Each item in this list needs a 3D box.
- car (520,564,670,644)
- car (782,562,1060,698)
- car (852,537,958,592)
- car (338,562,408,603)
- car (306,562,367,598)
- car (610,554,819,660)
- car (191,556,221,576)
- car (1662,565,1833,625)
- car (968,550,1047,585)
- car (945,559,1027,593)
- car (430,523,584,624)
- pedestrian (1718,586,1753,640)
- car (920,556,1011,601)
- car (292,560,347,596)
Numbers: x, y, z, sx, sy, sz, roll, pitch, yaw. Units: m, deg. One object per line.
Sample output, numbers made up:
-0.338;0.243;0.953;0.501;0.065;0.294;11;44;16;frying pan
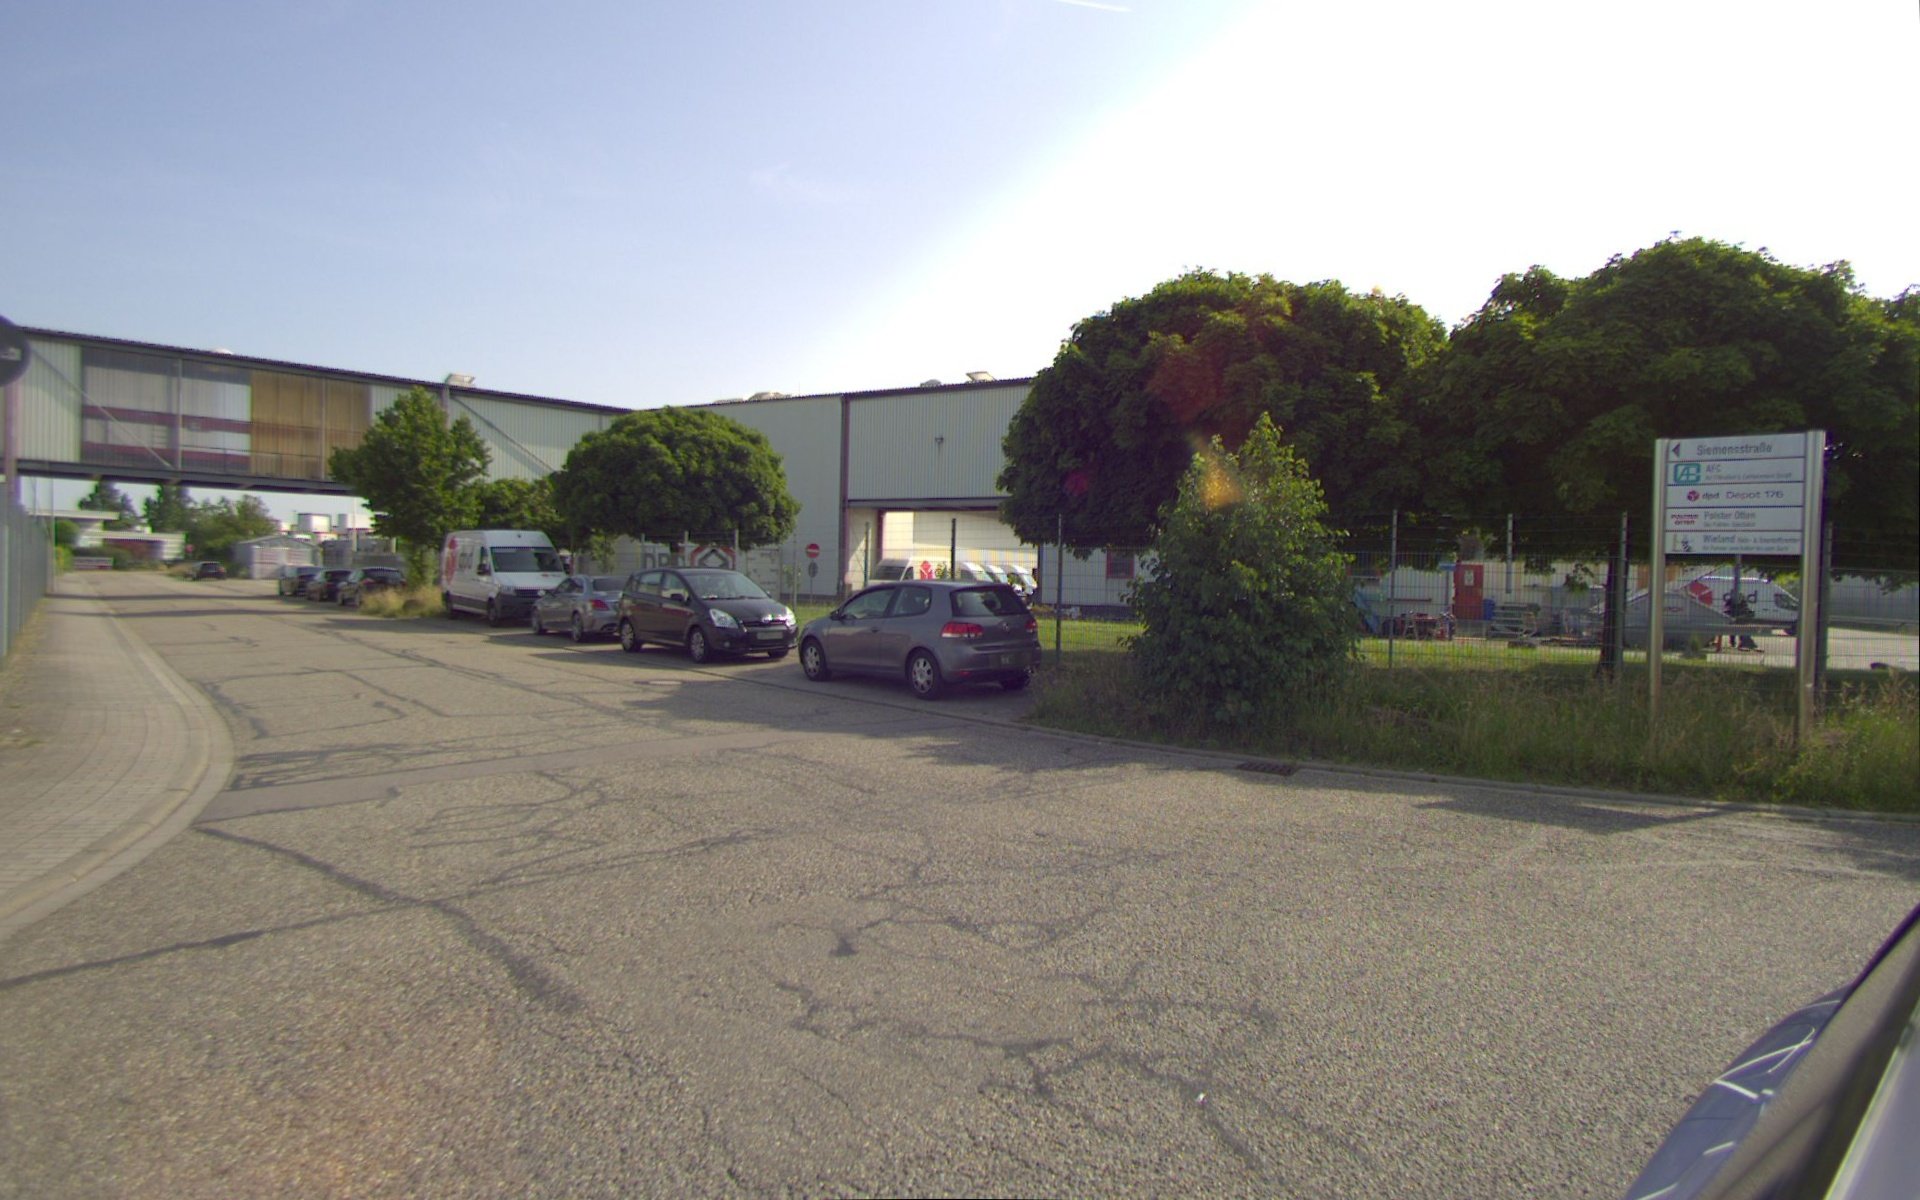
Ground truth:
-8.155;-0.004;22.392;1.697;1.536;4.488;-3;4;-39;car
-0.659;0.277;13.890;1.699;1.542;3.955;-3;4;-41;car
-2.621;-1.760;50.662;2.155;2.548;6.635;2;2;28;car
-22.022;-0.678;37.905;1.697;1.404;3.781;0;2;-39;car
-26.225;-0.870;42.531;1.697;1.404;3.781;0;2;-39;car
-4.498;0.024;18.123;1.846;1.645;4.261;-3;4;-41;car
-59.007;-2.673;79.215;1.697;1.542;3.781;0;2;-39;car
38.440;-0.290;49.661;6.218;2.681;2.191;3;1;29;car
3.107;-2.152;66.601;4.812;2.110;1.910;3;2;32;car
1.612;-1.525;63.867;4.812;1.988;1.910;3;2;32;car
-12.869;-0.804;28.422;2.169;2.513;6.842;-3;3;-39;car
25.688;0.409;33.543;0.854;1.743;0.623;3;1;38;pedestrian
0.282;-1.248;57.466;4.812;2.317;1.910;3;2;32;car
-29.431;-1.034;46.448;1.697;1.542;3.781;0;2;-39;car
